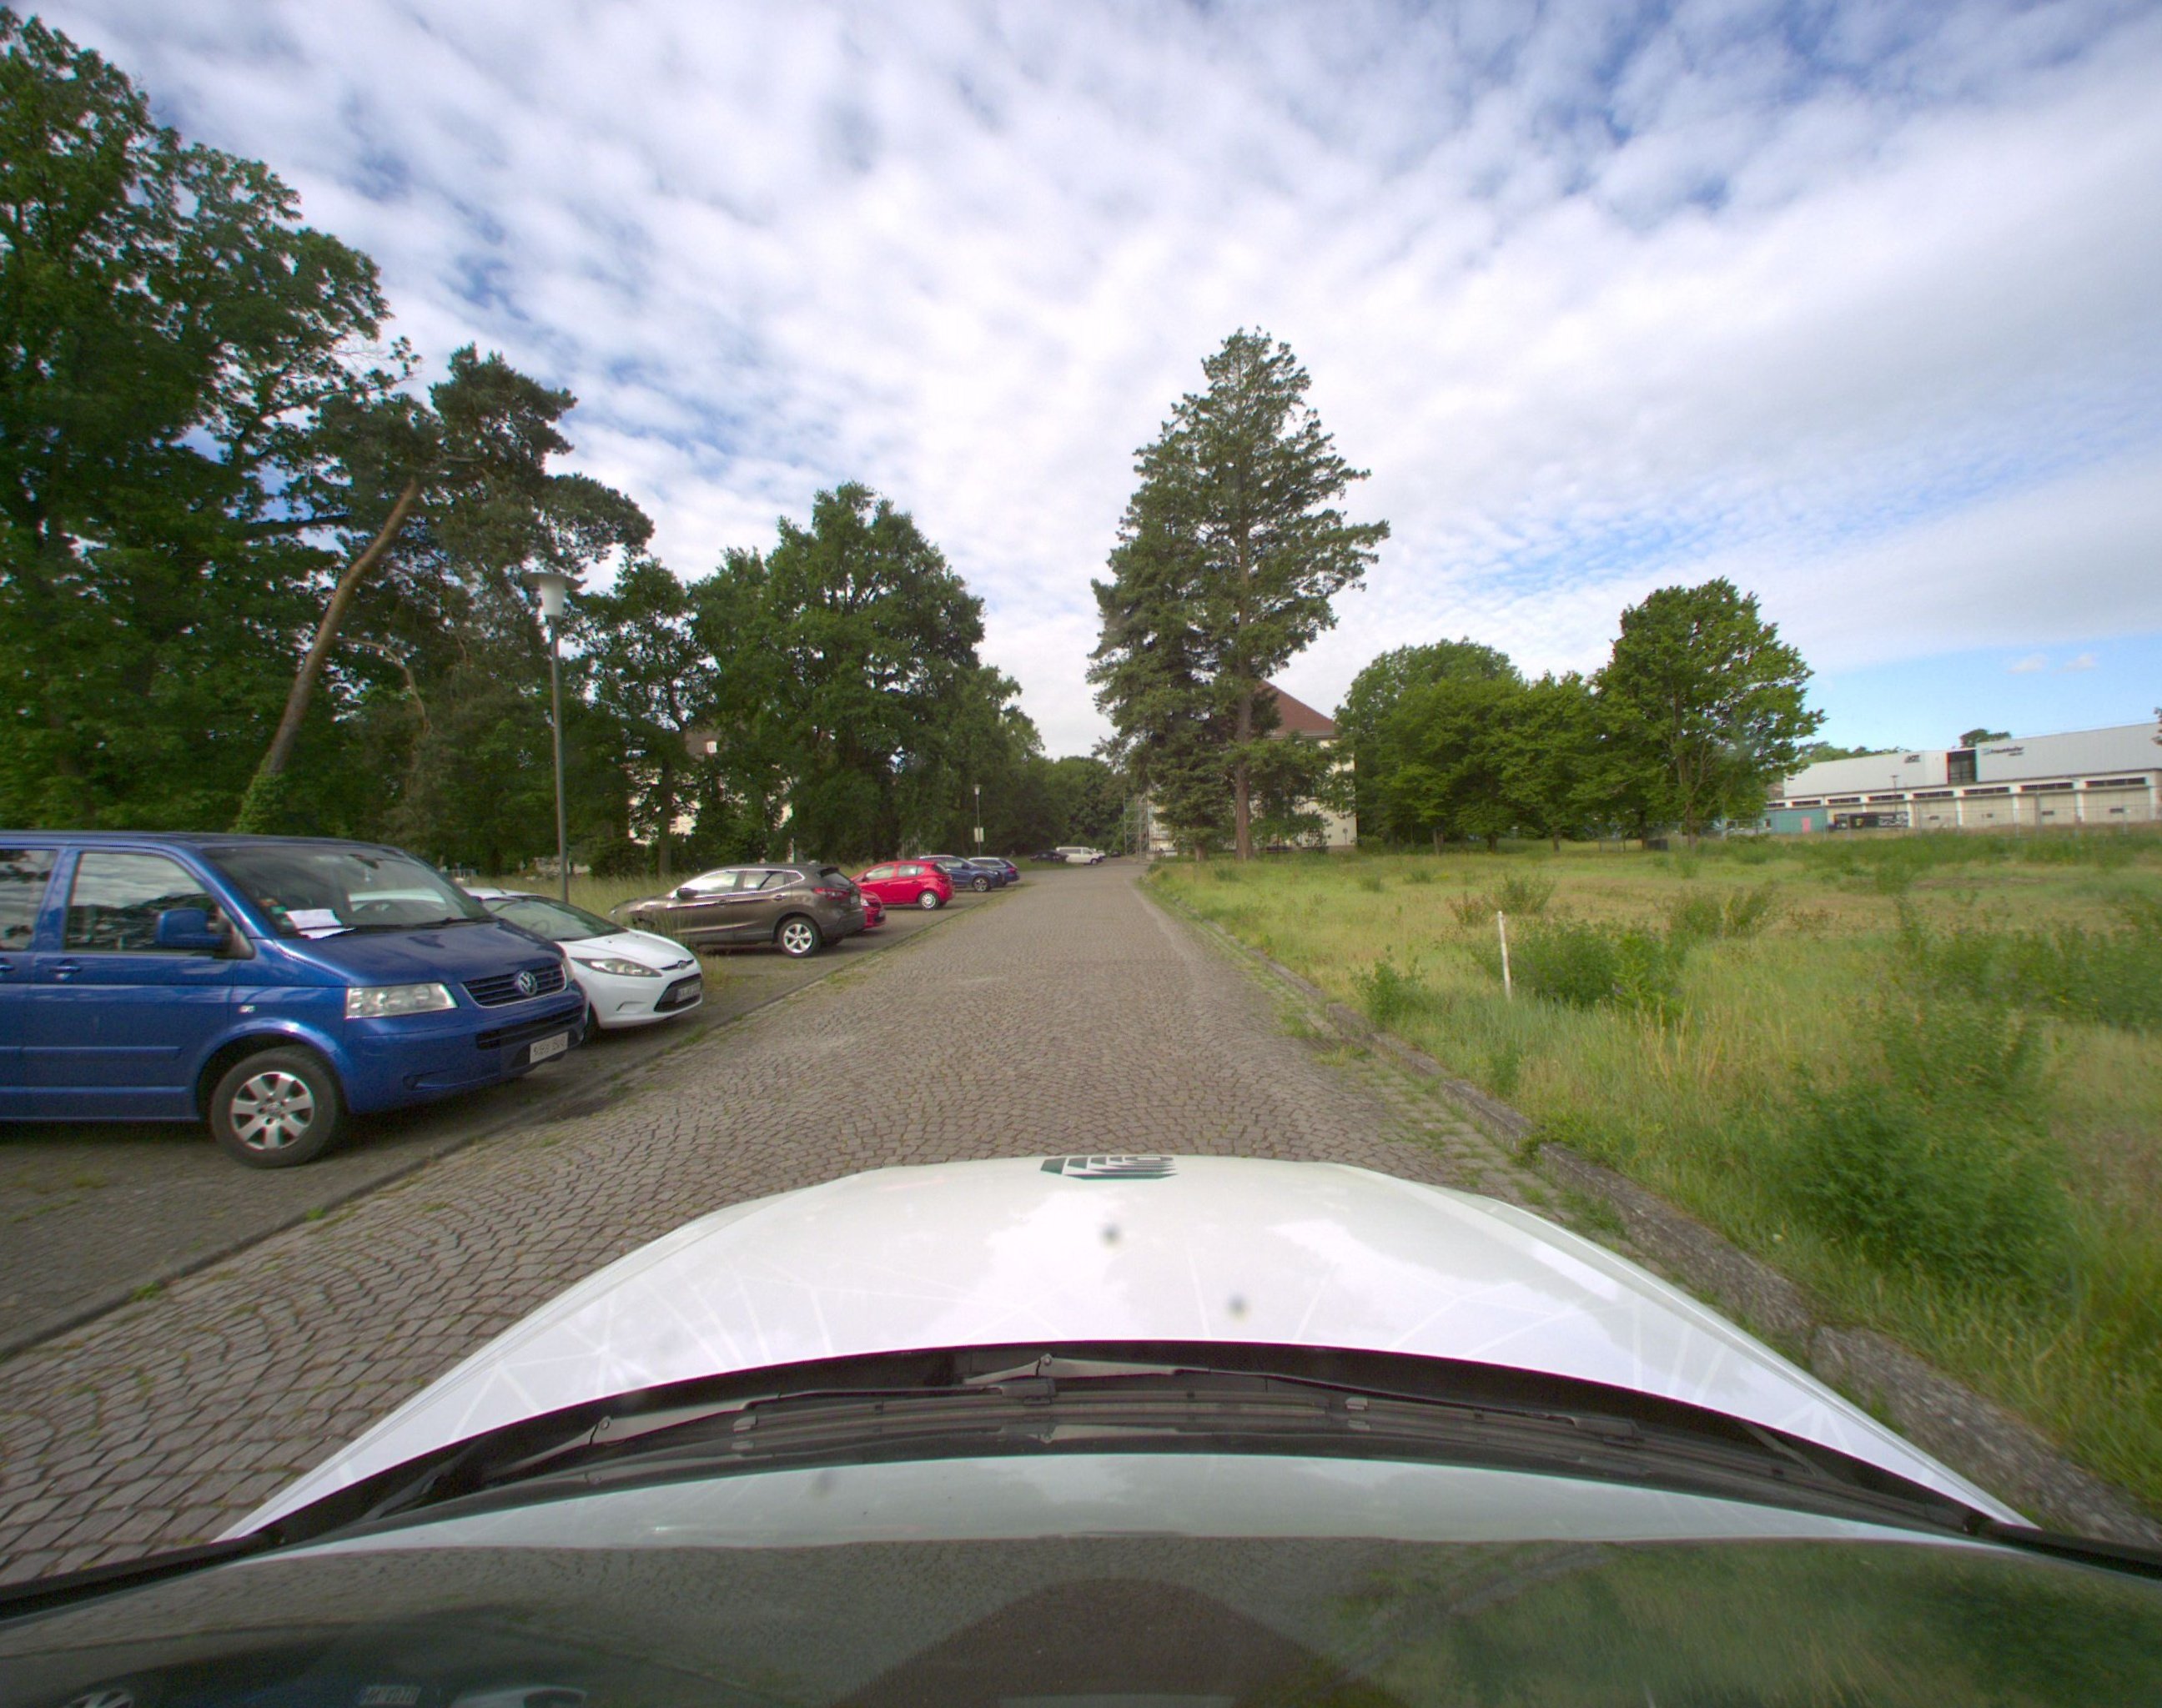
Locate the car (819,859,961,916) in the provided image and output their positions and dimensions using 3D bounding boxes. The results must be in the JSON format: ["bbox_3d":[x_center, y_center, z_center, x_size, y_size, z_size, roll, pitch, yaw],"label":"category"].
[{"bbox_3d":[-5.721,0.987,24.744,3.803,1.489,1.787,-2,0,0],"label":"car"}]

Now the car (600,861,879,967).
[{"bbox_3d":[-5.878,0.997,14.428,4.055,1.575,1.954,-2,0,0],"label":"car"}]

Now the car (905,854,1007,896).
[{"bbox_3d":[-5.325,0.872,34.993,4.059,1.604,1.787,-2,0,-1],"label":"car"}]

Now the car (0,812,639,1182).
[{"bbox_3d":[-5.964,0.828,5.555,4.694,1.980,2.038,-2,0,0],"label":"car"}]

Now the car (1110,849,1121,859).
[{"bbox_3d":[6.558,0.035,154.934,1.784,1.720,4.060,-3,-1,0],"label":"car"}]

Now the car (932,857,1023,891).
[{"bbox_3d":[-5.012,0.954,39.687,4.052,1.467,1.628,-2,0,4],"label":"car"}]

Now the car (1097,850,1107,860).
[{"bbox_3d":[3.940,0.192,154.640,1.784,1.636,4.060,-3,-1,0],"label":"car"}]

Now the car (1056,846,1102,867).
[{"bbox_3d":[-0.224,0.282,88.622,4.962,2.072,2.051,-1,-1,-1],"label":"car"}]

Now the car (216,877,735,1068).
[{"bbox_3d":[-5.748,1.073,8.129,3.783,1.493,1.725,-2,0,-2],"label":"car"}]

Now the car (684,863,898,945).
[{"bbox_3d":[-6.021,1.016,17.217,3.802,1.486,1.762,-2,0,1],"label":"car"}]
